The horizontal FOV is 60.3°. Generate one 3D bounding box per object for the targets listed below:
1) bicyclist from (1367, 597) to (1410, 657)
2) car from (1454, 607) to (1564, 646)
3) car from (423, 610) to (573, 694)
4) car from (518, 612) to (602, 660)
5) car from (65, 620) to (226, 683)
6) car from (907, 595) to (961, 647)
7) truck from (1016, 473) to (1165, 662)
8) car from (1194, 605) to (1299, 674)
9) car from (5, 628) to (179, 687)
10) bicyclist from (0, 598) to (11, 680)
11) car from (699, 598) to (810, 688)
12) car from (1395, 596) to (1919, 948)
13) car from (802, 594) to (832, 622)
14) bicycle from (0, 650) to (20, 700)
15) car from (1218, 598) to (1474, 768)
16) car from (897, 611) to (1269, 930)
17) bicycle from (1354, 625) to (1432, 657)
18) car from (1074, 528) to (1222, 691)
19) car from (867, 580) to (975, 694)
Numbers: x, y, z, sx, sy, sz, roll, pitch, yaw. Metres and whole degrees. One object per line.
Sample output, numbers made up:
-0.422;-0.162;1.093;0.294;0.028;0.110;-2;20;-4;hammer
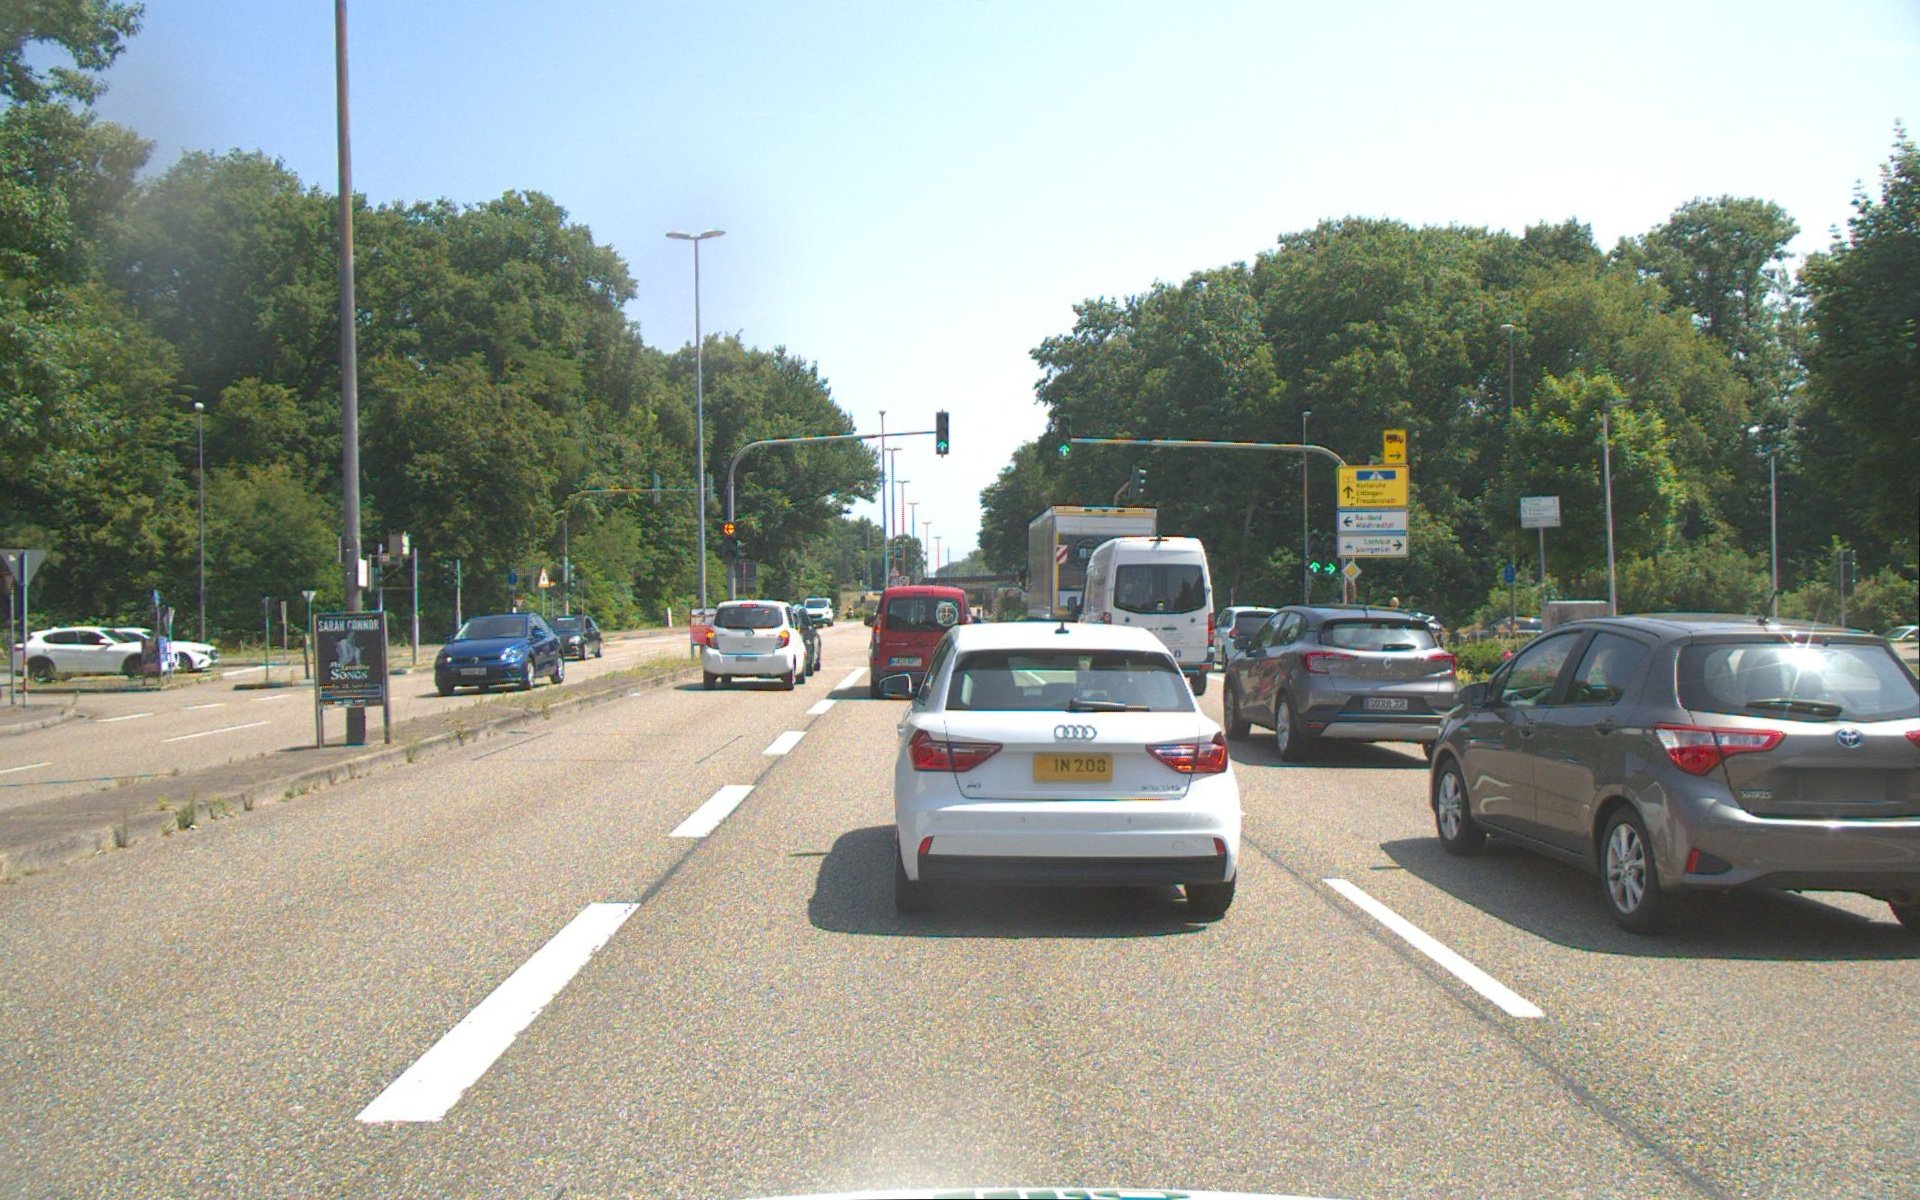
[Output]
10.600;0.660;40.923;0.815;1.464;0.595;-1;0;45;bicyclist
22.139;1.061;66.777;3.904;1.489;1.675;-1;0;2;car
-8.784;0.948;31.786;1.768;1.359;3.999;-4;0;-2;car
-13.011;1.142;53.981;1.768;1.359;3.999;-4;0;-2;car
-26.716;1.662;54.360;4.291;1.710;1.807;-4;0;-9;car
-0.887;0.671;54.473;1.677;1.660;4.090;0;0;-2;car
3.337;-0.776;45.592;3.025;4.511;11.578;1;0;-1;truck
6.903;0.915;40.212;1.677;1.573;4.090;0;0;-2;car
-26.474;1.753;50.543;4.289;1.711;1.807;1;-1;-9;car
-19.737;0.802;33.512;0.597;1.659;0.921;-1;0;-12;bicyclist
-3.678;0.736;30.167;1.677;1.519;4.090;0;0;-2;car
3.938;0.781;9.355;1.677;1.504;4.090;3;0;-2;car
-10.005;0.586;115.788;1.834;1.893;3.999;-1;0;-2;car
-19.738;1.535;33.586;0.606;0.986;1.655;-1;0;-11;bicycle
4.015;0.795;17.861;1.677;1.621;4.090;0;0;-2;car
0.484;0.782;9.512;1.677;1.410;4.090;0;0;-2;car
10.688;1.007;40.846;1.797;0.779;0.596;-1;0;45;bicycle
3.291;0.166;29.881;1.990;2.691;4.843;0;0;-2;car
-0.686;0.586;27.920;1.677;1.779;4.090;0;0;-2;car
